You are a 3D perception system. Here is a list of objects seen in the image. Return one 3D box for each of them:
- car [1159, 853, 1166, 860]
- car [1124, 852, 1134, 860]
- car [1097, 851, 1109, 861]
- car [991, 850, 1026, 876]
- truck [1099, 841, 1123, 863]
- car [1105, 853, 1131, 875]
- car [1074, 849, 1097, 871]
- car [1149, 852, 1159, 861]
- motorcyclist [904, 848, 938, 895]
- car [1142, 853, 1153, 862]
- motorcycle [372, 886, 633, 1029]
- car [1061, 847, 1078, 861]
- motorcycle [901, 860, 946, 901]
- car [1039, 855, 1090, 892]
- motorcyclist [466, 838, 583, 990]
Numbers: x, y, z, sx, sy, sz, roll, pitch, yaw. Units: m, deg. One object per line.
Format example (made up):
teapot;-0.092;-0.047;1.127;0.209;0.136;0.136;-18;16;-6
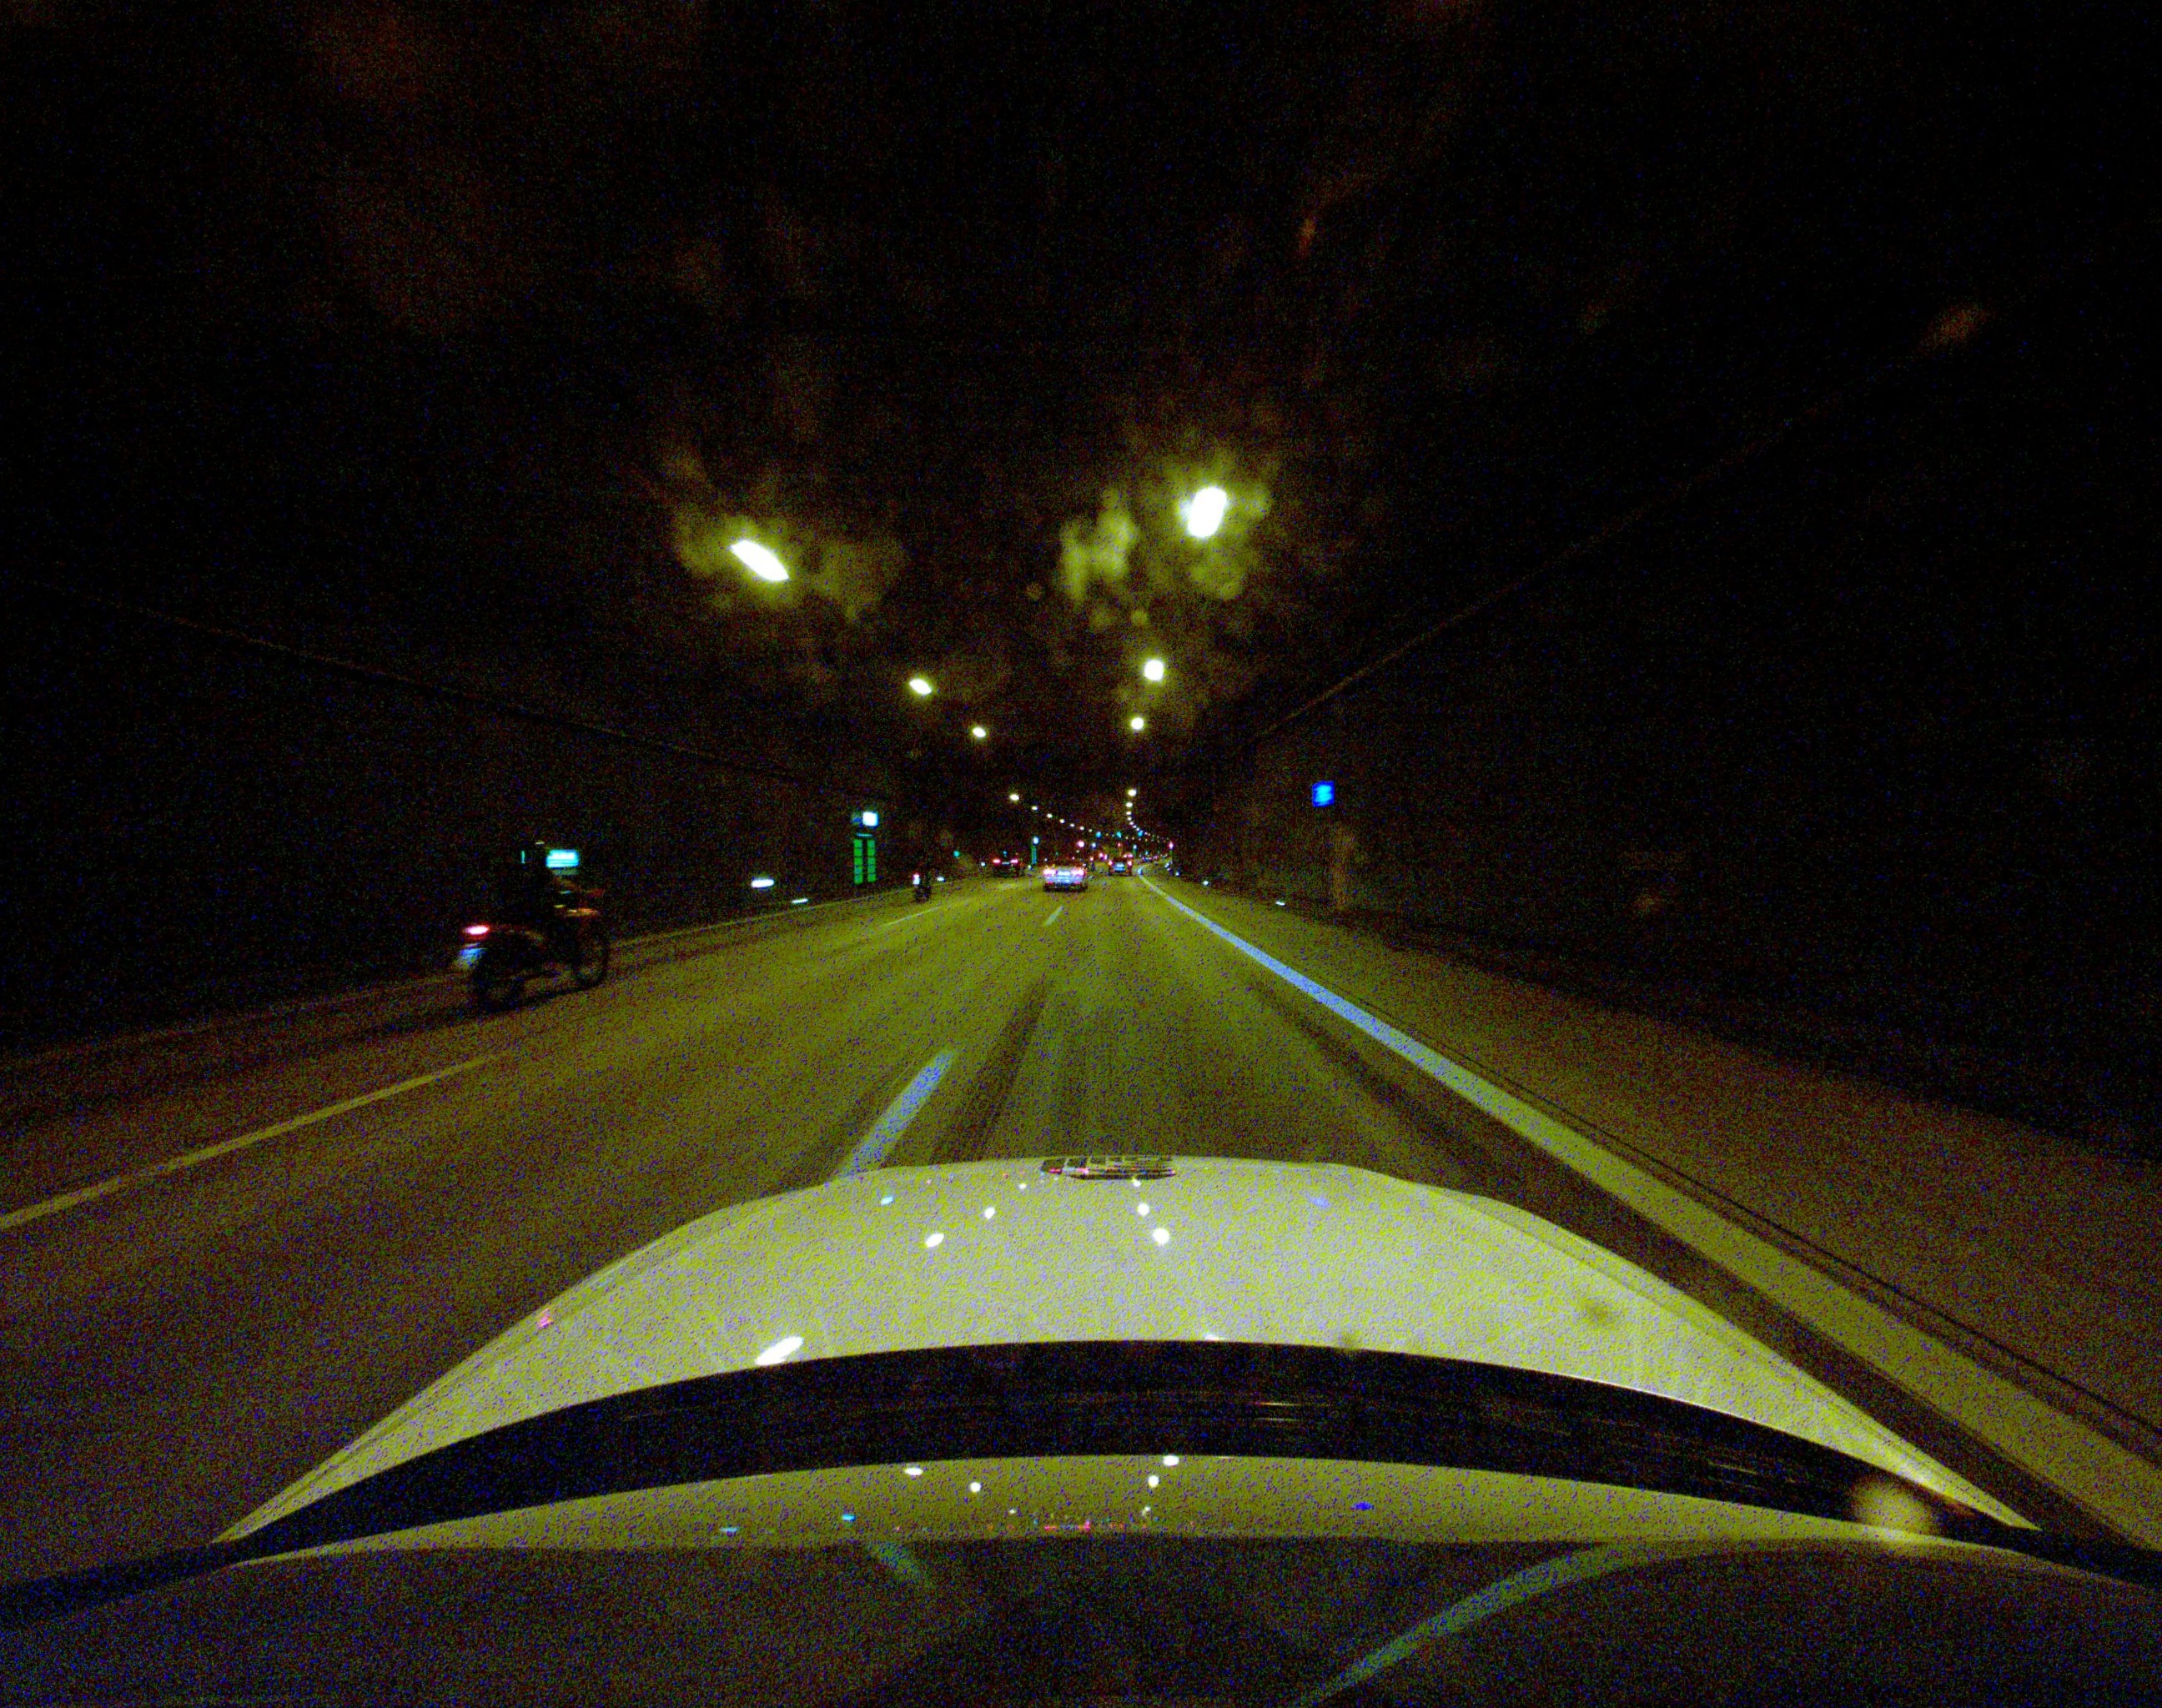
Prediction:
car;21.622;0.706;215.836;1.824;1.691;4.006;-1;0;6
car;10.583;0.444;179.840;1.821;1.618;4.008;-1;0;7
car;3.947;0.331;146.215;1.835;1.603;4.004;-1;0;4
car;-4.851;0.576;54.684;1.778;1.598;3.804;-1;0;3
truck;4.629;-0.337;124.706;3.068;3.112;10.042;-2;1;5
car;2.812;0.774;62.161;1.833;1.602;4.000;1;0;1
car;0.467;0.525;75.874;1.985;1.972;4.002;0;0;2
car;15.024;0.465;167.172;1.850;1.666;4.004;-1;0;4
motorcyclist;-5.161;0.561;26.294;0.836;1.477;0.822;-3;0;1
car;11.321;0.575;138.779;1.835;1.568;4.004;-1;0;4
motorcycle;-5.790;0.963;8.433;1.051;1.157;2.425;0;0;-3
car;-1.492;0.002;105.968;1.792;1.684;4.005;-3;-1;5
motorcycle;-5.109;0.839;26.658;0.842;1.245;2.606;-1;0;2
car;-0.644;0.804;35.143;1.986;1.483;4.002;0;0;2
motorcyclist;-5.773;0.595;8.493;0.625;1.489;0.889;-1;-1;-3
